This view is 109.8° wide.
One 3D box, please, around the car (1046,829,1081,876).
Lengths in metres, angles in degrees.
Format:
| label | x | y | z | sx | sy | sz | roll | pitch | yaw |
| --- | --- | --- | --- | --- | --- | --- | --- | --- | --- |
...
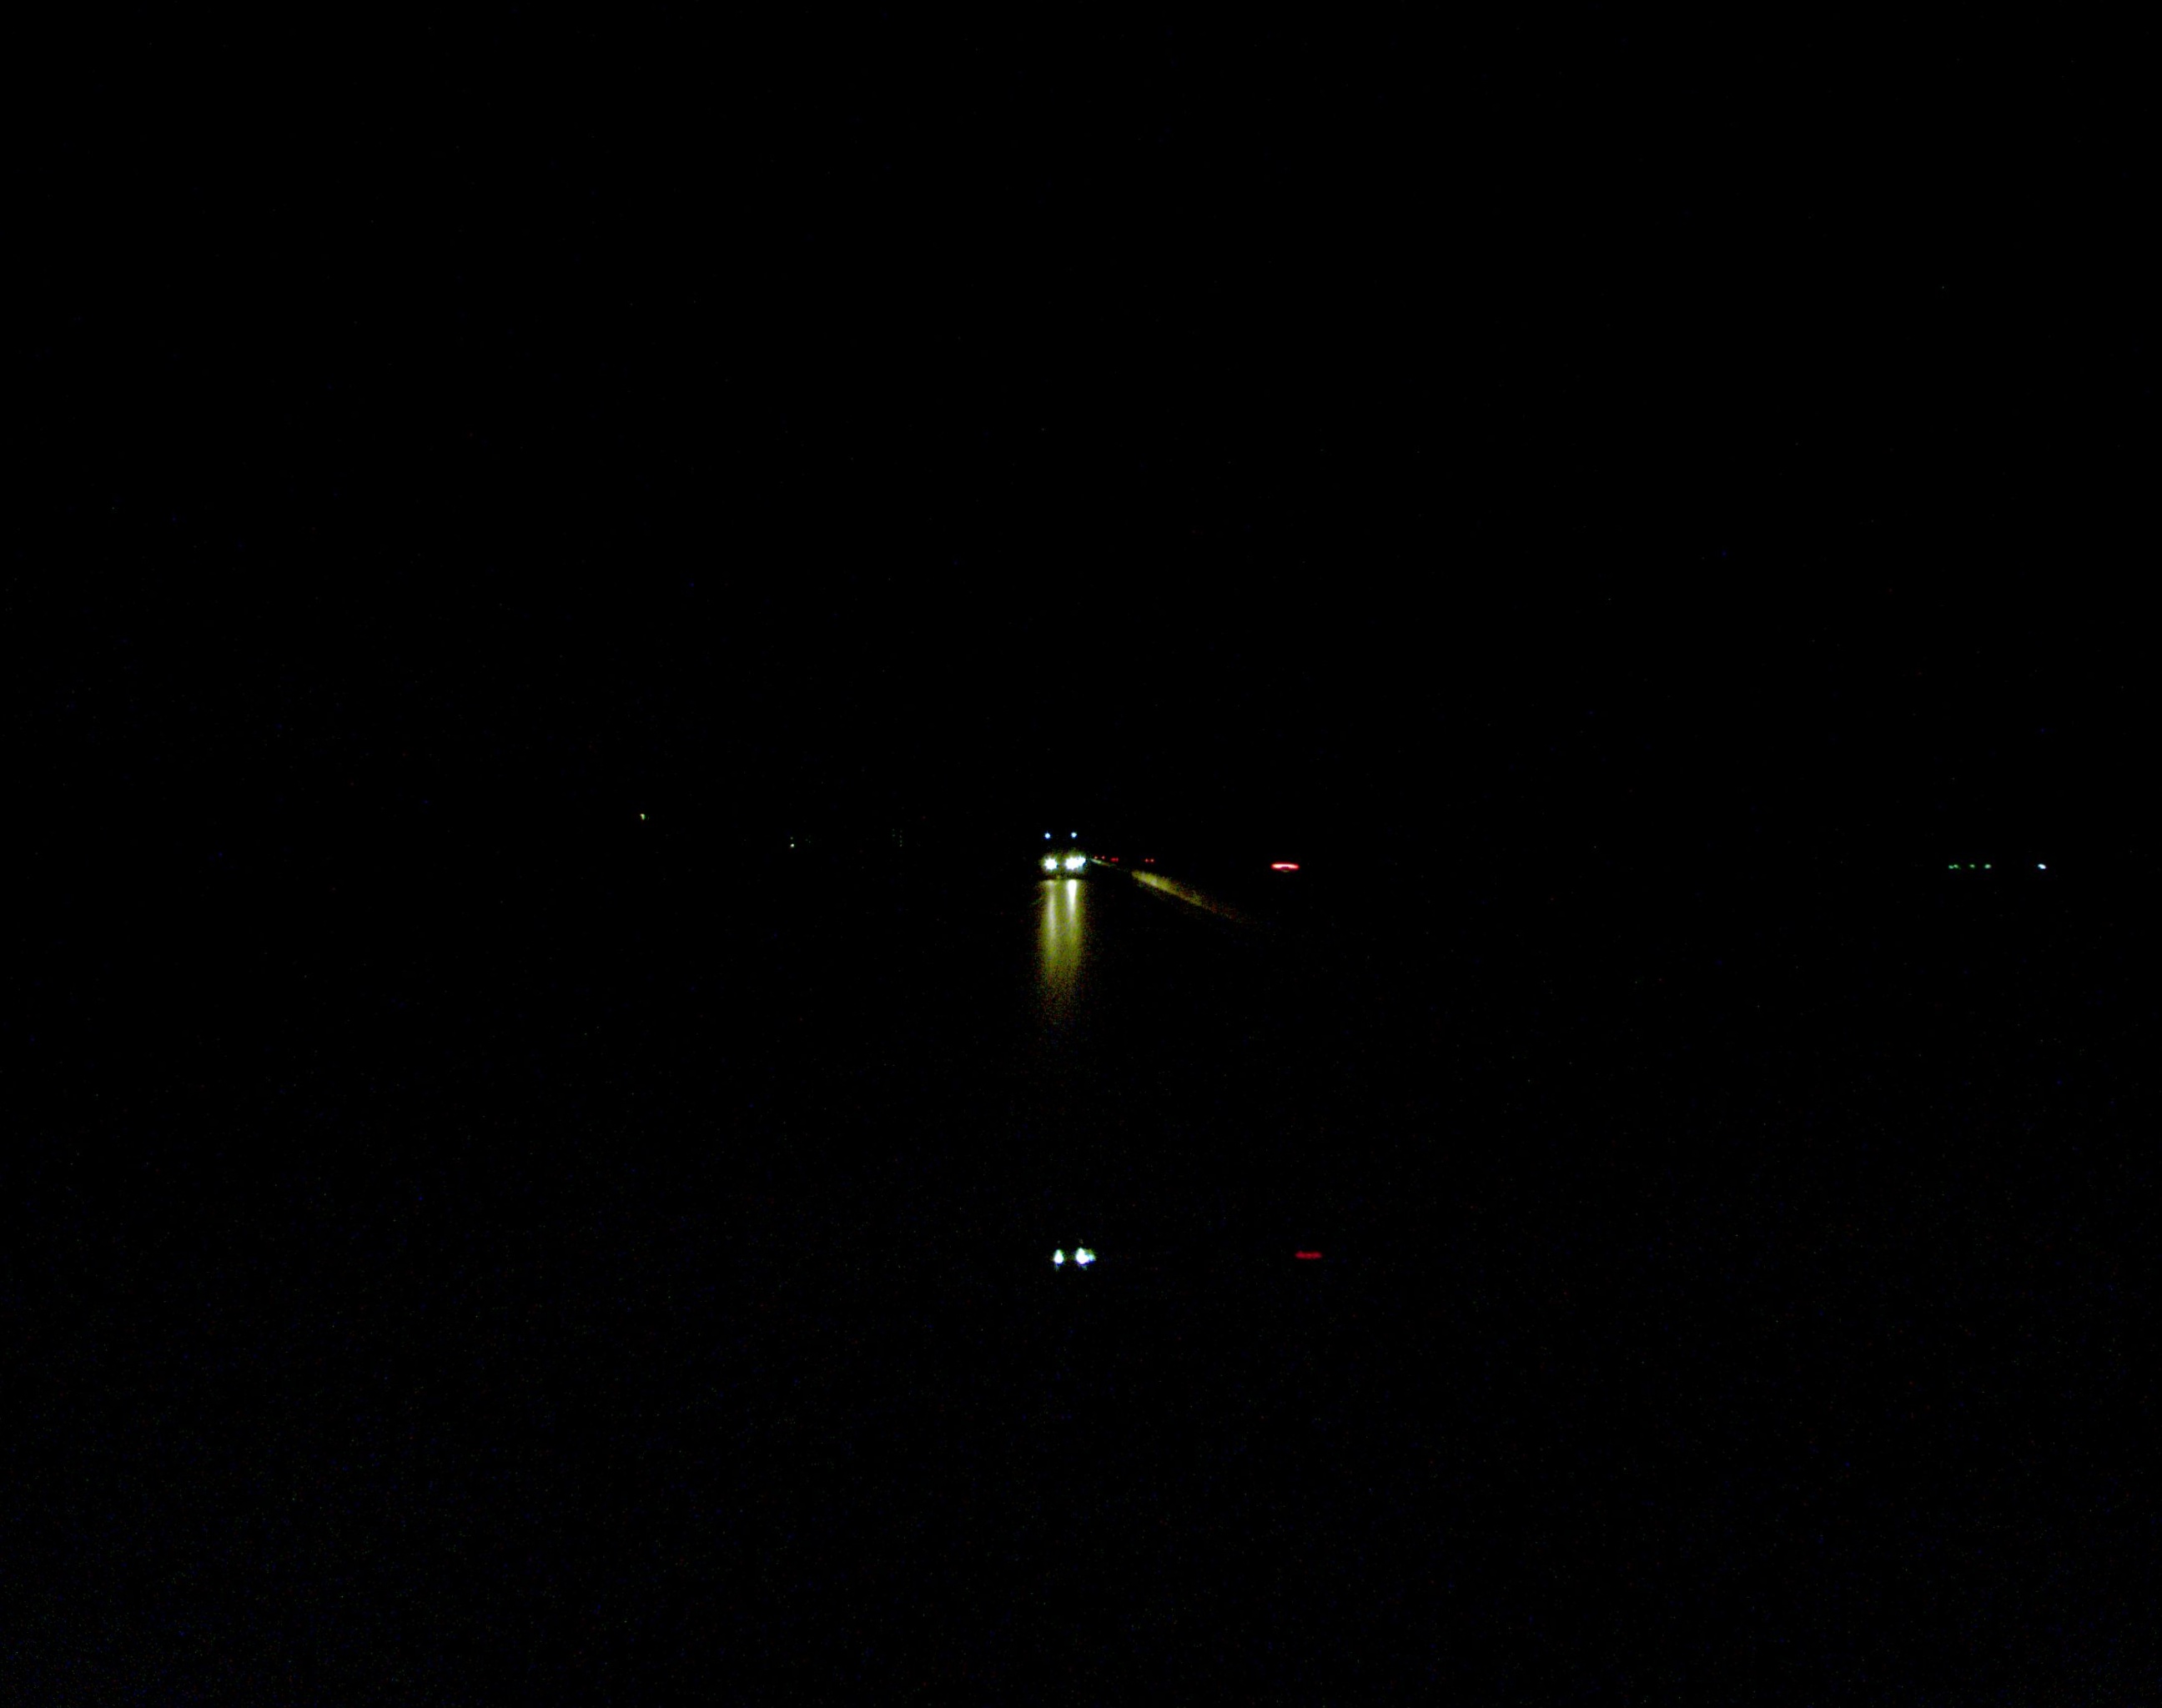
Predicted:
| label | x | y | z | sx | sy | sz | roll | pitch | yaw |
| --- | --- | --- | --- | --- | --- | --- | --- | --- | --- |
| car | -1.202 | -0.120 | 55.540 | 2.255 | 3.205 | 6.878 | -2 | 0 | 1 |

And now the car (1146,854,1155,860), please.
| label | x | y | z | sx | sy | sz | roll | pitch | yaw |
| --- | --- | --- | --- | --- | --- | --- | --- | --- | --- |
| car | 18.167 | 0.775 | 199.574 | 2.050 | 1.710 | 4.775 | 1 | 0 | 1 |

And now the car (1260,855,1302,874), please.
| label | x | y | z | sx | sy | sz | roll | pitch | yaw |
| --- | --- | --- | --- | --- | --- | --- | --- | --- | --- |
| car | 16.362 | 0.800 | 62.475 | 1.999 | 1.411 | 4.982 | 1 | 0 | -1 |
